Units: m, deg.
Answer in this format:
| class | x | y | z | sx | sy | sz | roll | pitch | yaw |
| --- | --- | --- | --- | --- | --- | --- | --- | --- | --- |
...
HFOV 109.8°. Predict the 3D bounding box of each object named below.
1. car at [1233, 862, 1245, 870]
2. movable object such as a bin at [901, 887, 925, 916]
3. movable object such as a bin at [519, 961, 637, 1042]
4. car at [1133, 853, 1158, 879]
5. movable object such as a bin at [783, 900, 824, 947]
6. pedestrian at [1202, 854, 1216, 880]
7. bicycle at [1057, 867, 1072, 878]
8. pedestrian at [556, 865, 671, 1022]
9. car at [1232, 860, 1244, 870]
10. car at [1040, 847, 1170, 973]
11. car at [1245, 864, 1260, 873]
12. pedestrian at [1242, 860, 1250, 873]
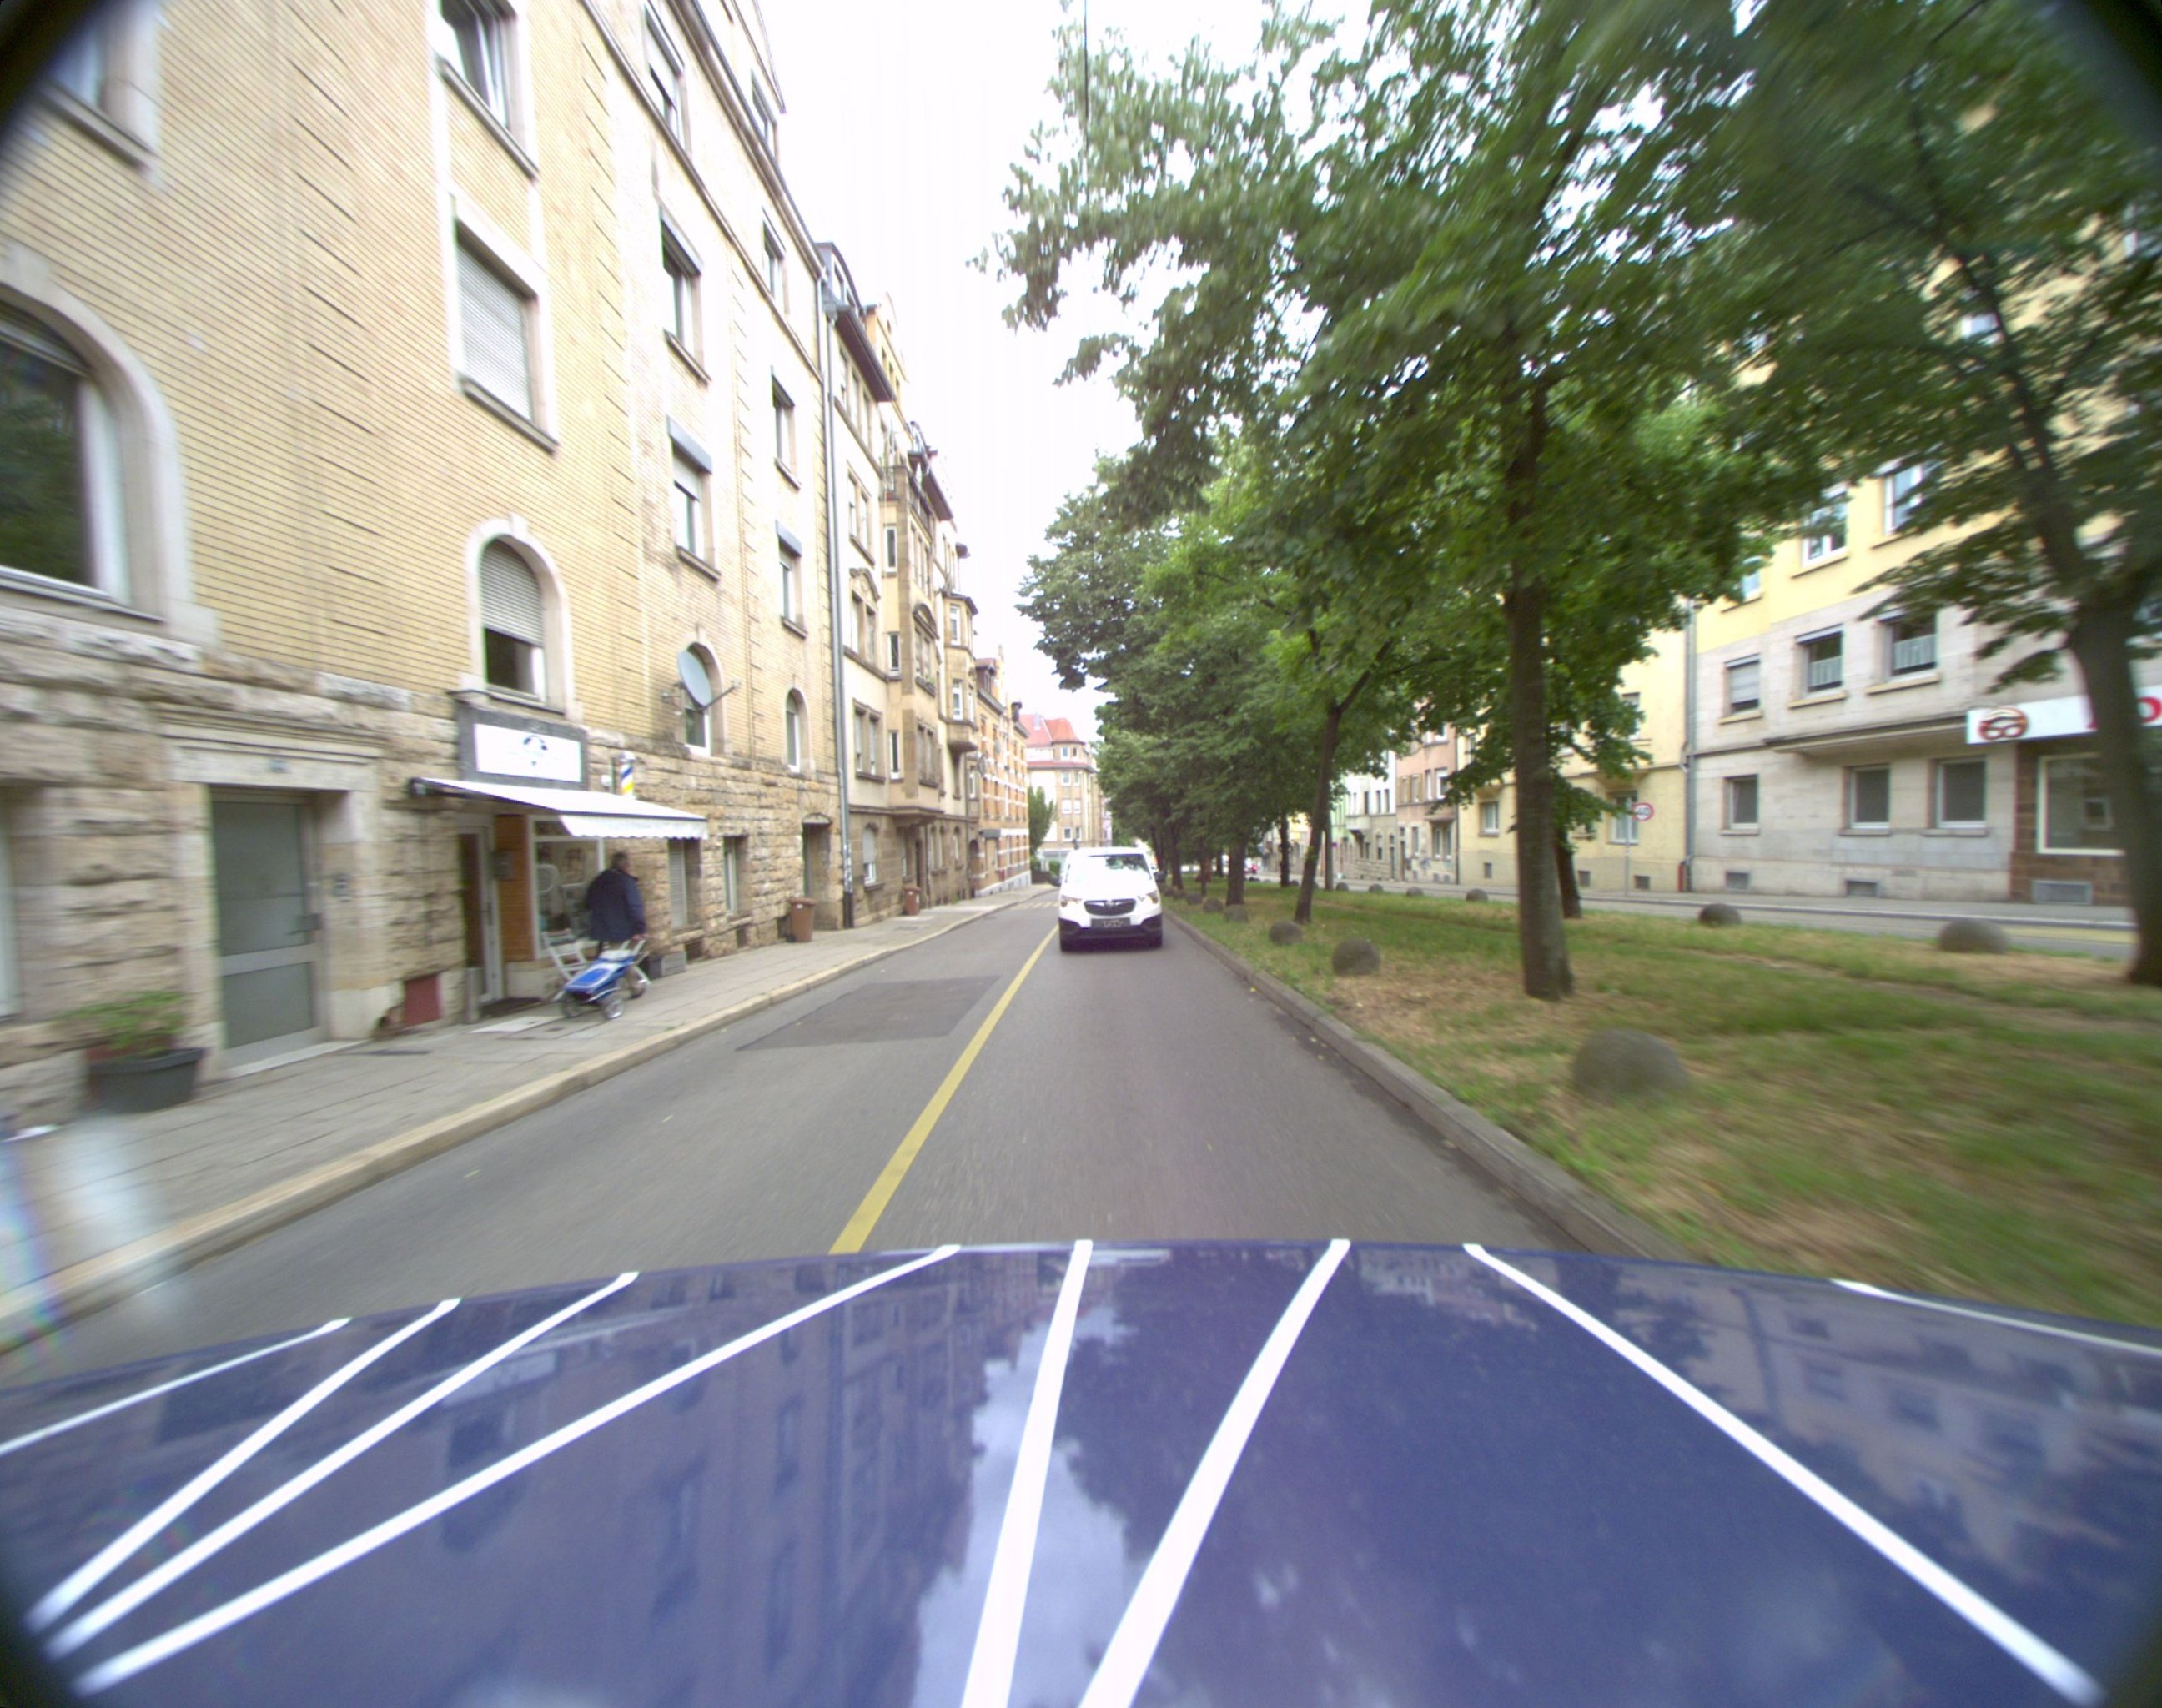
| class | x | y | z | sx | sy | sz | roll | pitch | yaw |
| --- | --- | --- | --- | --- | --- | --- | --- | --- | --- |
| car | 26.458 | 2.008 | 127.011 | 1.711 | 1.374 | 4.672 | 0 | -1 | 8 |
| movable object such as a bin | -5.399 | 1.530 | 24.469 | 0.595 | 0.898 | 0.563 | -2 | 0 | 3 |
| movable object such as a bin | -5.106 | 1.485 | 7.764 | 0.609 | 0.664 | 0.858 | 0 | 0 | 2 |
| car | 5.378 | 1.006 | 63.680 | 1.962 | 1.937 | 3.957 | -2 | 1 | 5 |
| movable object such as a bin | -5.813 | 1.447 | 15.924 | 0.595 | 0.899 | 0.502 | -2 | 4 | 3 |
| pedestrian | 8.583 | 0.863 | 51.134 | 0.835 | 1.702 | 1.123 | 2 | 2 | 8 |
| bicycle | -1.872 | 2.101 | 88.024 | 0.642 | 1.134 | 2.069 | -5 | 6 | -36 |
| pedestrian | -5.287 | 0.969 | 8.638 | 0.753 | 1.683 | 0.858 | 0 | 0 | 2 |
| car | 28.339 | 1.919 | 137.200 | 1.819 | 1.627 | 4.681 | 0 | 1 | 6 |
| car | 0.548 | 0.855 | 13.654 | 1.857 | 1.798 | 4.731 | -3 | 0 | 5 |
| car | 24.594 | 2.089 | 108.979 | 1.761 | 1.374 | 4.672 | 0 | -1 | 8 |
| pedestrian | 18.779 | 1.403 | 86.503 | 0.700 | 1.451 | 0.704 | -2 | -1 | 8 |
